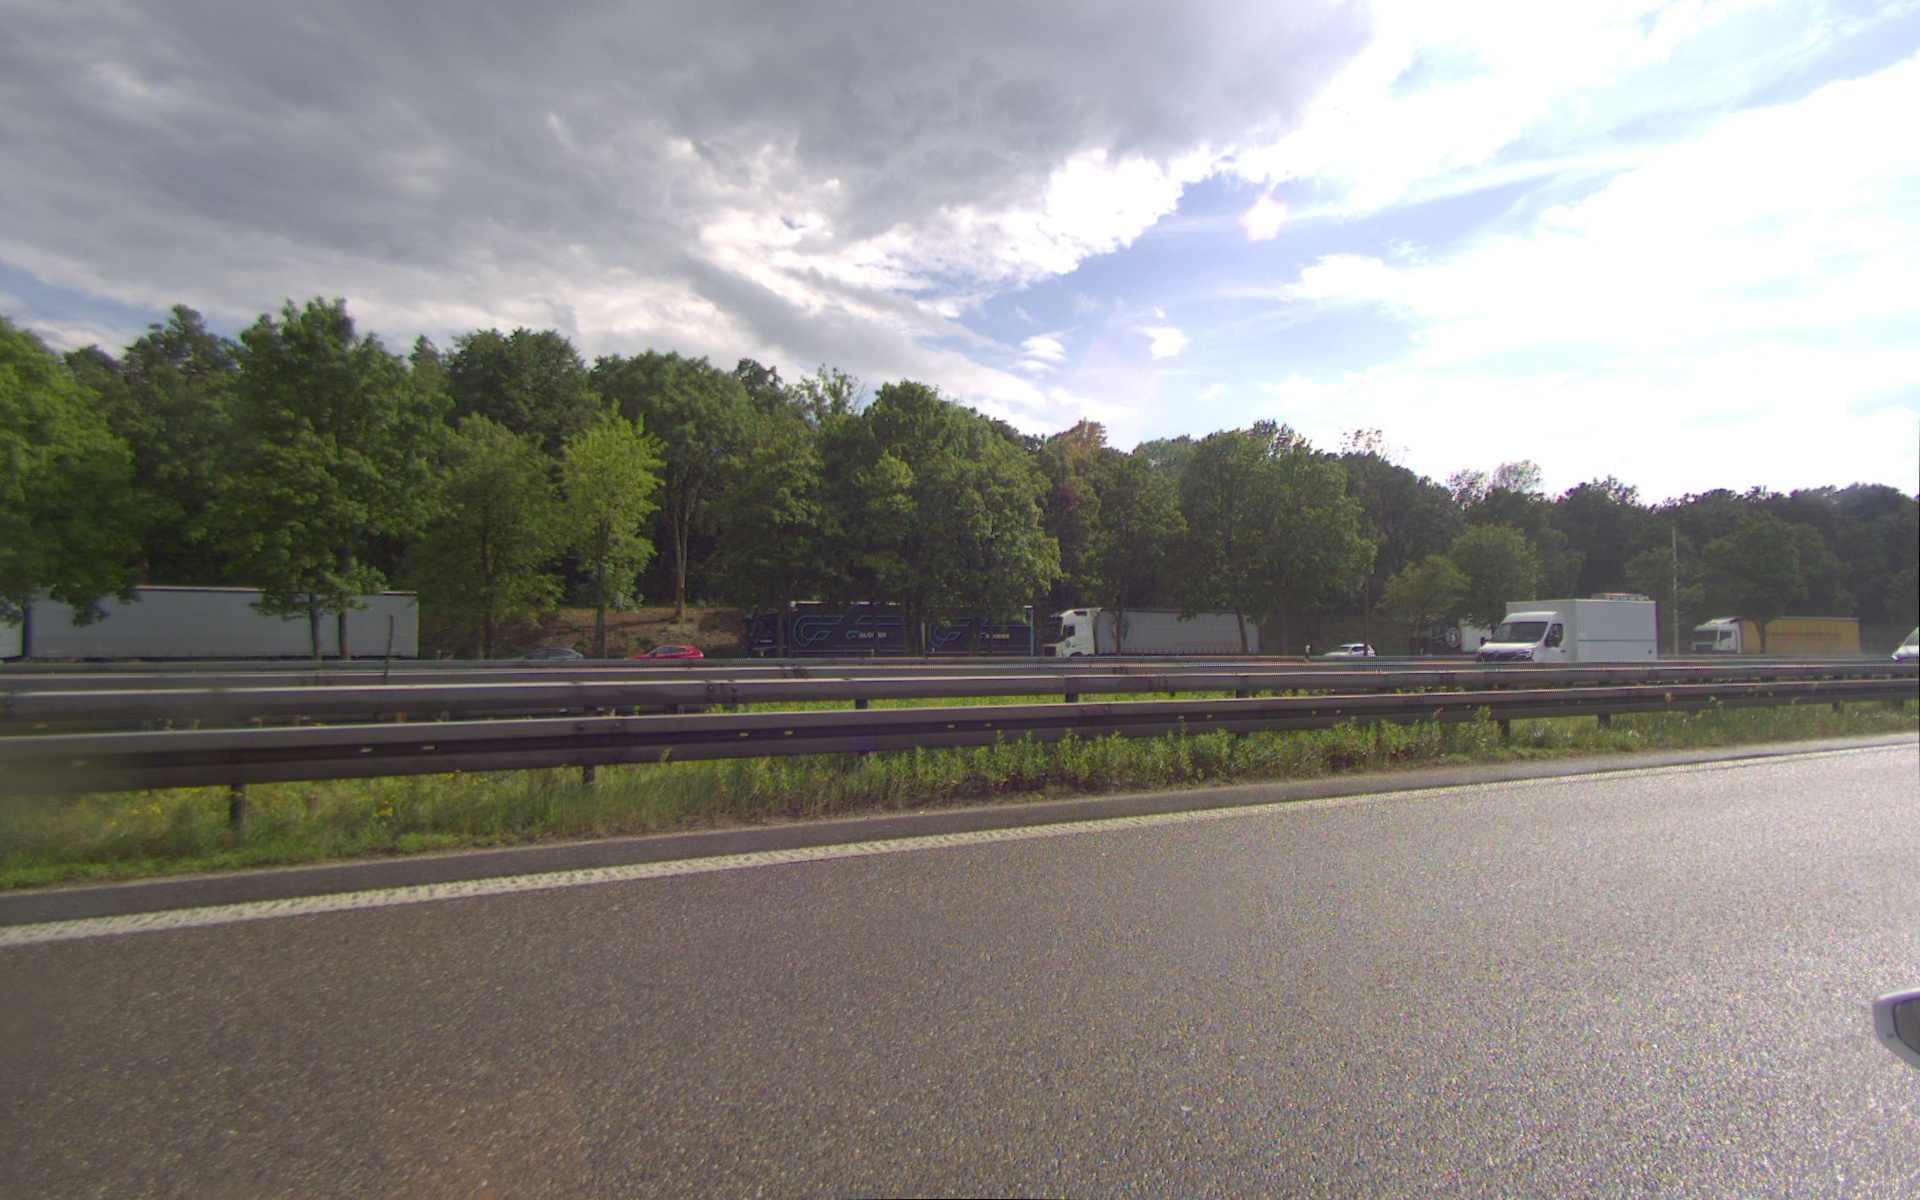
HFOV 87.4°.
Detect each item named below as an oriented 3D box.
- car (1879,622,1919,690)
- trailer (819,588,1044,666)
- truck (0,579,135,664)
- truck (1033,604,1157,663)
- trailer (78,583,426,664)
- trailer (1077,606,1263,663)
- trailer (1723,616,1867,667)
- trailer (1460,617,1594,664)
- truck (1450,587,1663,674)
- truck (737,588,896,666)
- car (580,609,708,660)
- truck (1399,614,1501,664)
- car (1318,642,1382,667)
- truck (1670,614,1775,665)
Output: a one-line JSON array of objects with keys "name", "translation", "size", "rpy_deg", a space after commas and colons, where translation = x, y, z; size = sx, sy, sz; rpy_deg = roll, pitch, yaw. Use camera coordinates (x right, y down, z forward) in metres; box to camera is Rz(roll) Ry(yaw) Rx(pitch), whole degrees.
[{"name": "car", "translation": [29.952, 1.708, 30.019], "size": [5.193, 1.916, 2.038], "rpy_deg": [2, 0, -28]}, {"name": "trailer", "translation": [-1.619, 1.751, 62.133], "size": [13.621, 4.464, 3.776], "rpy_deg": [1, -1, -27]}, {"name": "truck", "translation": [-37.725, 0.867, 41.187], "size": [5.445, 3.316, 3.335], "rpy_deg": [2, 0, -31]}, {"name": "truck", "translation": [8.974, 2.216, 66.846], "size": [7.260, 3.637, 3.774], "rpy_deg": [2, 0, -27]}, {"name": "trailer", "translation": [-31.015, 1.116, 45.092], "size": [12.326, 3.259, 3.332], "rpy_deg": [2, -1, -30]}, {"name": "trailer", "translation": [14.703, 2.402, 69.728], "size": [13.171, 3.697, 3.776], "rpy_deg": [1, -1, -27]}, {"name": "trailer", "translation": [75.262, 3.748, 90.583], "size": [11.526, 4.171, 3.790], "rpy_deg": [2, 0, -14]}, {"name": "trailer", "translation": [46.466, 3.292, 82.284], "size": [10.338, 3.697, 3.784], "rpy_deg": [1, -1, -20]}, {"name": "truck", "translation": [20.331, 1.048, 34.163], "size": [7.099, 2.717, 2.832], "rpy_deg": [2, 0, -27]}, {"name": "truck", "translation": [-8.365, 1.581, 58.646], "size": [8.309, 4.290, 3.774], "rpy_deg": [2, 0, -27]}, {"name": "car", "translation": [-16.881, 1.850, 53.718], "size": [6.130, 2.515, 2.783], "rpy_deg": [2, 0, -27]}, {"name": "truck", "translation": [38.647, 3.067, 79.261], "size": [6.607, 3.709, 3.780], "rpy_deg": [2, 0, -22]}, {"name": "car", "translation": [29.383, 4.083, 75.682], "size": [4.308, 1.741, 2.053], "rpy_deg": [2, 0, -25]}, {"name": "truck", "translation": [67.216, 3.469, 88.606], "size": [6.926, 4.171, 3.790], "rpy_deg": [2, 0, -14]}]
